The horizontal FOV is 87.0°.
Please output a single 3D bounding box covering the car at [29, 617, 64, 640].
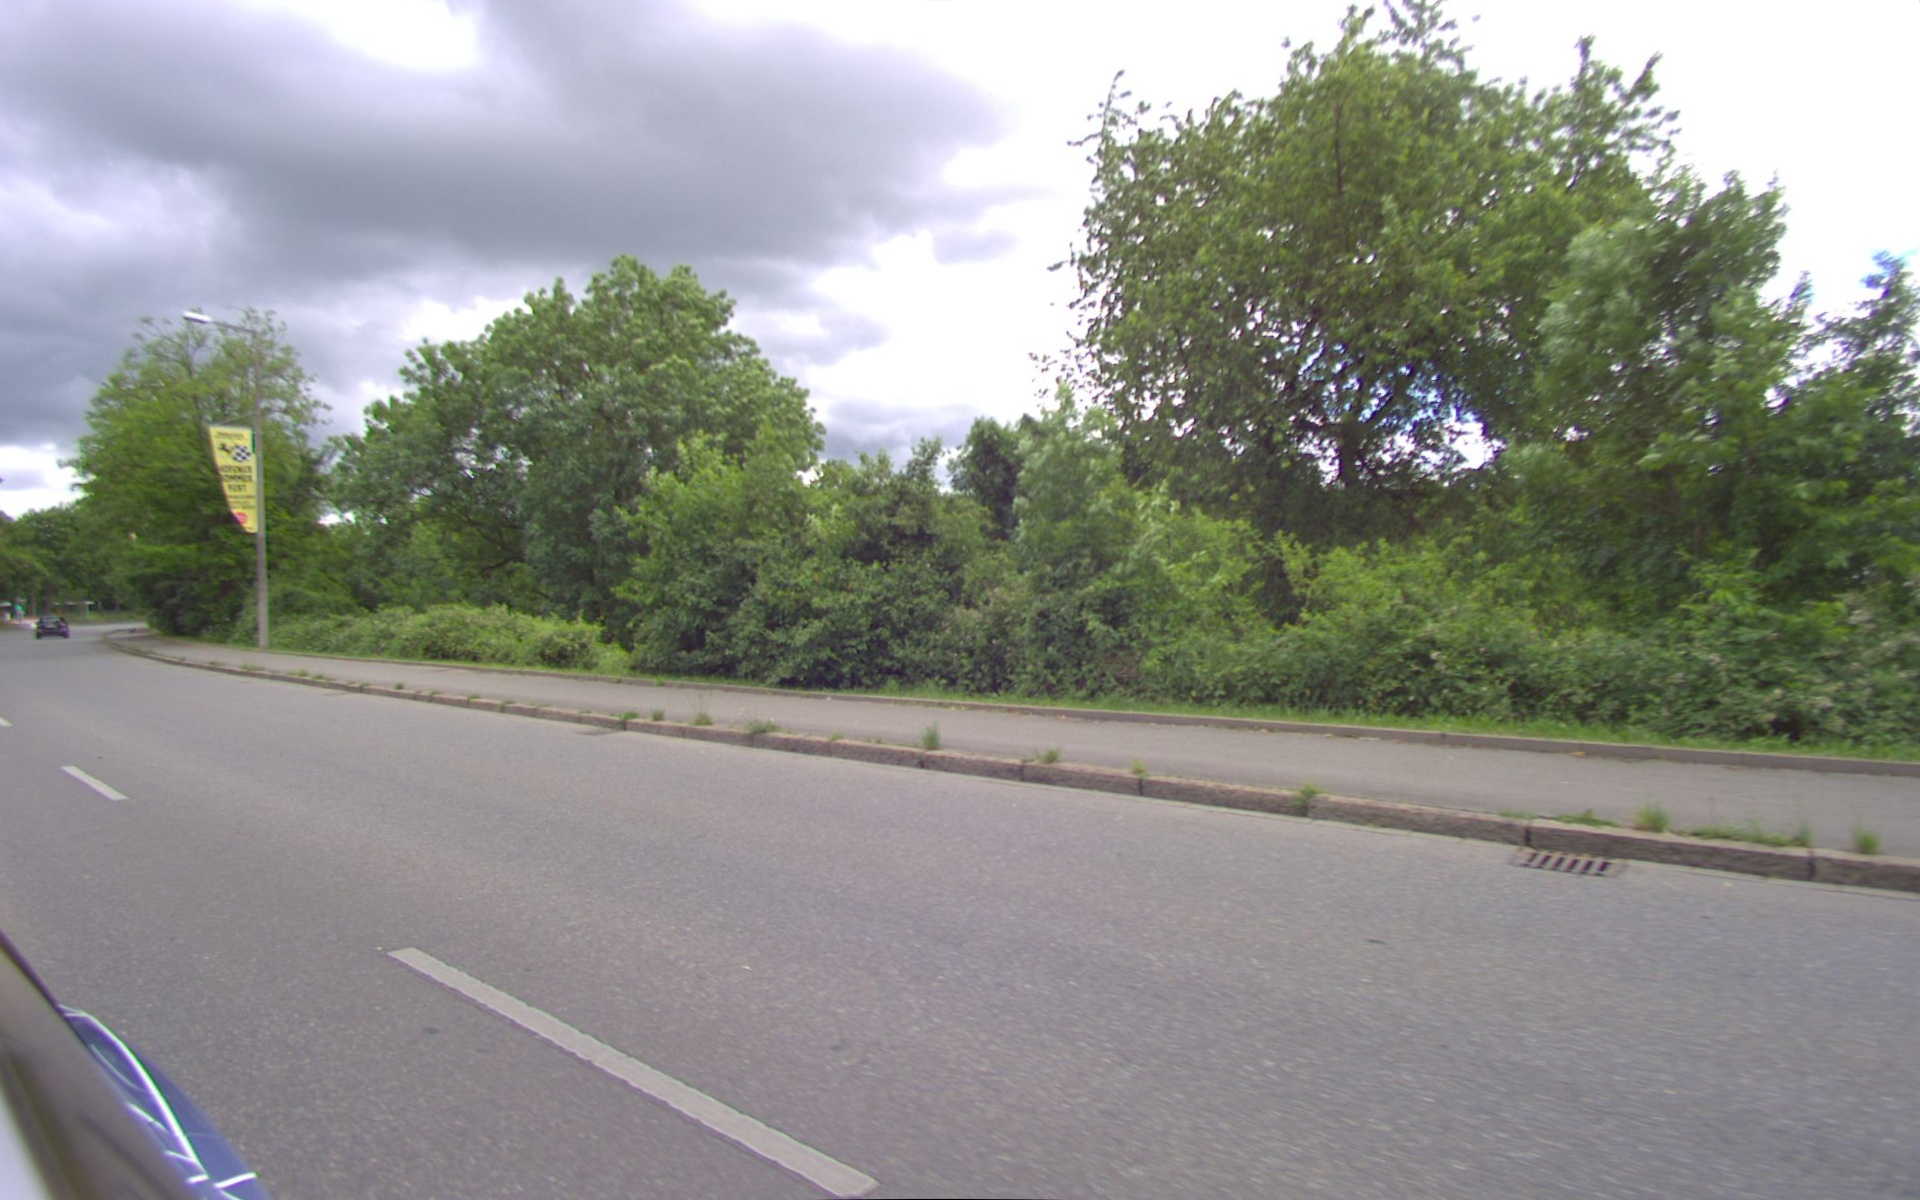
[{"bbox_3d":[-62.287,1.923,68.977,3.029,1.517,1.578,-1,-1,44],"label":"car"}]
